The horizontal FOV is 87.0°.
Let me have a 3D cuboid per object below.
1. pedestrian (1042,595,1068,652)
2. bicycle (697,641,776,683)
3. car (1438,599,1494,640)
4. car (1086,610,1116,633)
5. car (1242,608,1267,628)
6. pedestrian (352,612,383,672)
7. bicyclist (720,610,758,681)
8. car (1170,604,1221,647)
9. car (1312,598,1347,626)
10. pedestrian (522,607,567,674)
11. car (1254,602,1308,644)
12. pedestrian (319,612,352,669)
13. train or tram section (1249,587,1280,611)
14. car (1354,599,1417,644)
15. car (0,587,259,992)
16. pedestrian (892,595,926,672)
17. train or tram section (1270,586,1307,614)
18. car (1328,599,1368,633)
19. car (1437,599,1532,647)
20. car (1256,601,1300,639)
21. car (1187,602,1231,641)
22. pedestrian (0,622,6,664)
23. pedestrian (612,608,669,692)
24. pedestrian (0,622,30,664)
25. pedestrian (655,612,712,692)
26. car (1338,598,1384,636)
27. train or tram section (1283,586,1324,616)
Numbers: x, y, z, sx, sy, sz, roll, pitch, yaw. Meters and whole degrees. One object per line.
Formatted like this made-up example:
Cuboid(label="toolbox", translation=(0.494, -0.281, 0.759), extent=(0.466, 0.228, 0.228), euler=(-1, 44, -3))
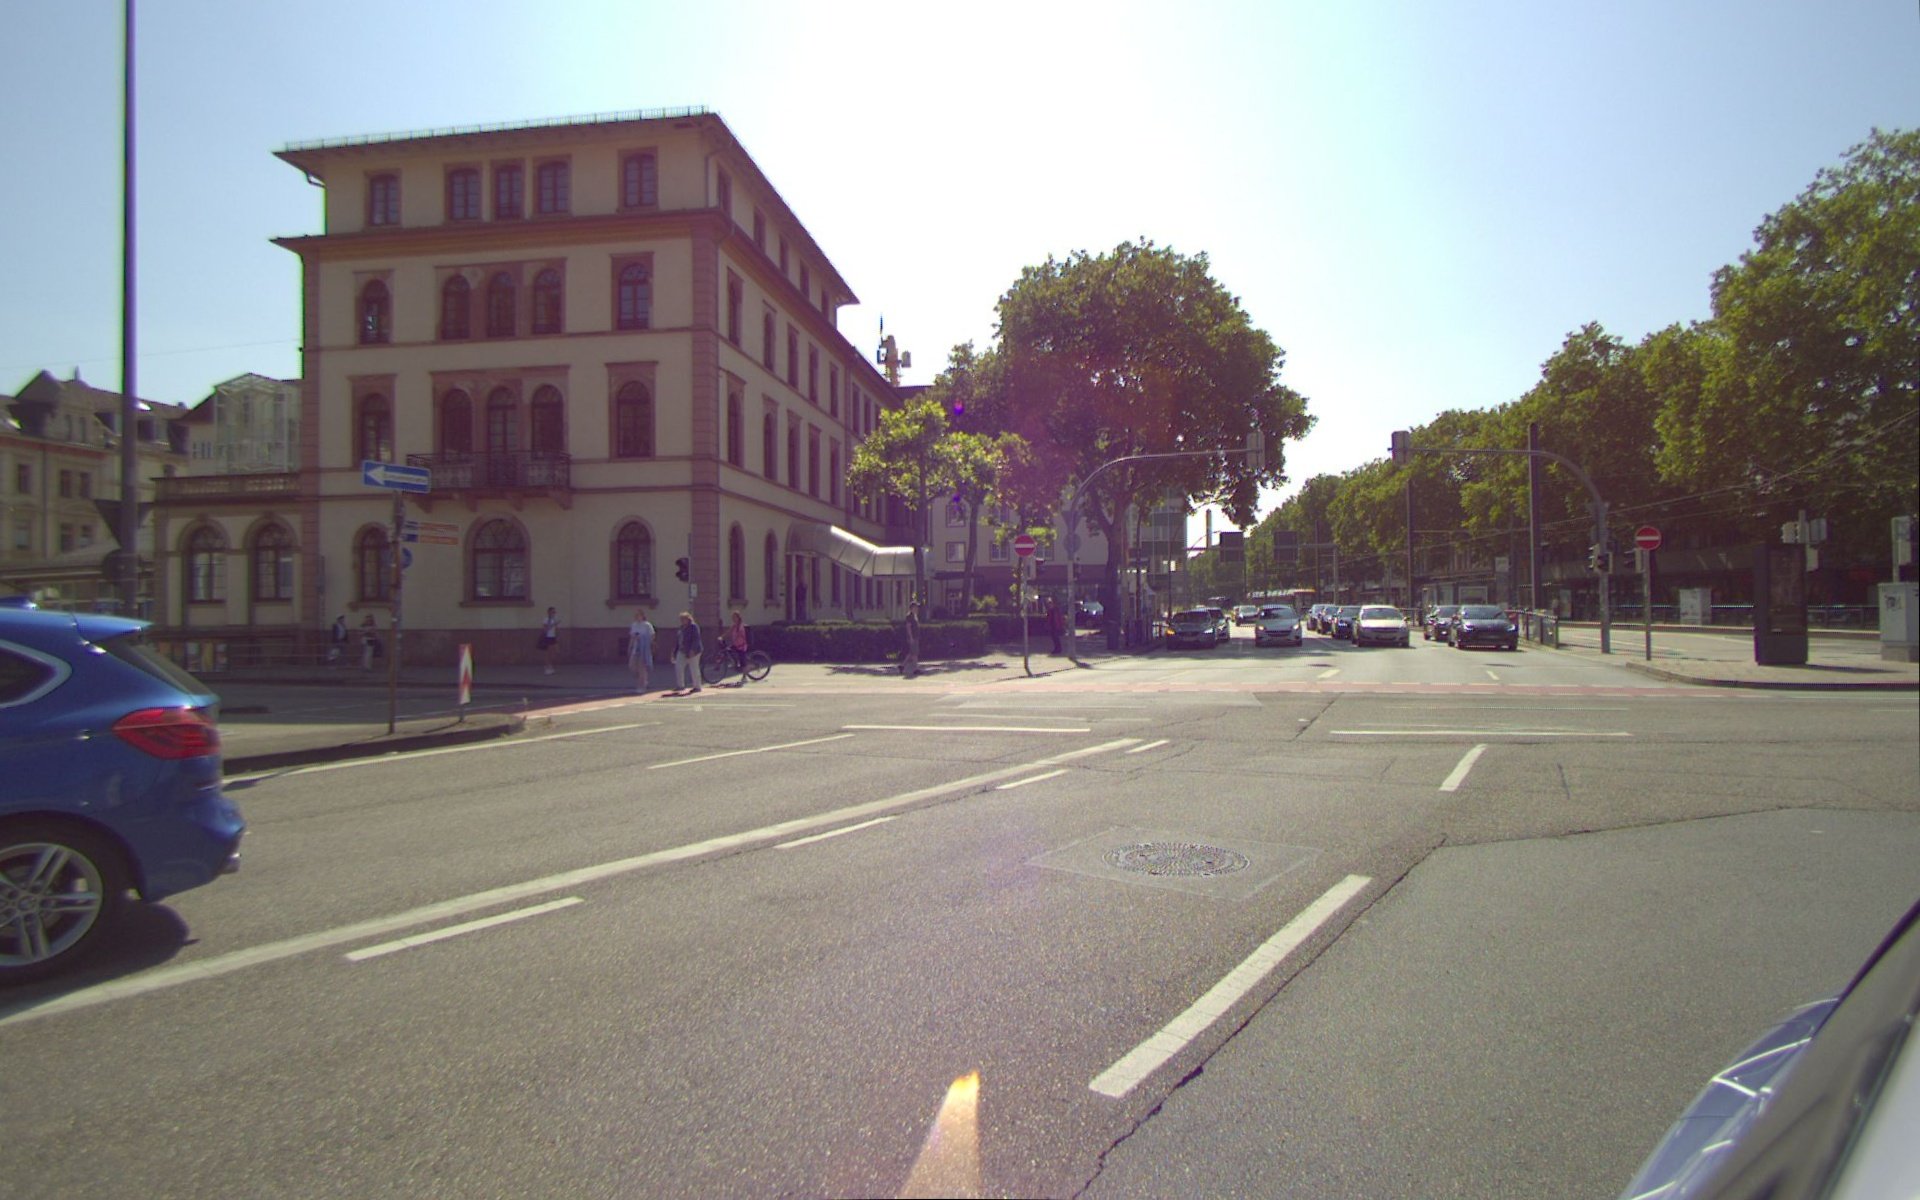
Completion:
Cuboid(label="pedestrian", translation=(3.122, 0.770, 33.143), extent=(0.716, 1.828, 0.649), euler=(-1, -1, 15))
Cuboid(label="bicycle", translation=(-5.196, 1.431, 23.568), extent=(1.711, 0.865, 0.593), euler=(0, -1, -35))
Cuboid(label="car", translation=(20.265, 0.757, 40.651), extent=(1.772, 1.536, 3.942), euler=(1, 0, 23))
Cuboid(label="car", translation=(8.947, 1.338, 64.013), extent=(1.567, 1.339, 3.565), euler=(-1, -1, 13))
Cuboid(label="car", translation=(22.687, 1.379, 78.009), extent=(1.767, 1.470, 3.953), euler=(1, 0, 16))
Cuboid(label="pedestrian", translation=(-16.823, 1.193, 28.743), extent=(0.527, 1.670, 0.577), euler=(-1, -1, 15))
Cuboid(label="bicyclist", translation=(-5.161, 1.043, 23.603), extent=(0.671, 1.627, 0.593), euler=(0, -1, -35))
Cuboid(label="car", translation=(8.891, 0.925, 38.204), extent=(1.765, 1.470, 3.957), euler=(1, 0, 13))
Cuboid(label="car", translation=(20.870, 0.646, 57.129), extent=(1.771, 1.543, 3.946), euler=(1, 0, 21))
Cuboid(label="pedestrian", translation=(-10.894, 1.053, 26.555), extent=(0.829, 1.717, 0.743), euler=(-1, -1, 7))
Cuboid(label="car", translation=(12.069, 0.812, 38.254), extent=(1.766, 1.470, 3.955), euler=(1, 0, 15))
Cuboid(label="pedestrian", translation=(-18.685, 1.215, 30.265), extent=(0.527, 1.670, 0.672), euler=(-1, -1, 11))
Cuboid(label="train or tram section", translation=(42.749, -0.126, 142.515), extent=(2.688, 3.309, 8.718), euler=(-1, -1, 7))
Cuboid(label="car", translation=(15.273, 0.745, 36.521), extent=(1.698, 1.519, 4.463), euler=(0, -1, 18))
Cuboid(label="car", translation=(-5.200, 0.764, 3.615), extent=(1.719, 1.561, 4.204), euler=(-3, -2, 44))
Cuboid(label="pedestrian", translation=(-1.270, 0.830, 25.042), extent=(0.713, 1.869, 0.593), euler=(-1, -1, -14))
Cuboid(label="train or tram section", translation=(40.553, 0.029, 125.198), extent=(2.688, 3.309, 8.718), euler=(-1, -1, 7))
Cuboid(label="car", translation=(18.848, 0.759, 49.203), extent=(1.771, 1.543, 3.946), euler=(1, 0, 21))
Cuboid(label="car", translation=(17.520, 0.725, 34.005), extent=(1.765, 1.470, 4.264), euler=(1, 0, 13))
Cuboid(label="car", translation=(14.117, 0.838, 44.871), extent=(1.769, 1.550, 3.950), euler=(1, 0, 19))
Cuboid(label="car", translation=(10.888, 0.892, 44.122), extent=(1.766, 1.545, 3.955), euler=(1, 0, 15))
Cuboid(label="pedestrian", translation=(-37.829, 1.673, 39.513), extent=(0.719, 1.624, 0.710), euler=(-1, -1, 33))
Cuboid(label="pedestrian", translation=(-6.549, 1.002, 20.757), extent=(0.746, 1.681, 0.821), euler=(-1, -1, 27))
Cuboid(label="pedestrian", translation=(-37.453, 1.683, 40.101), extent=(0.719, 1.624, 0.710), euler=(-1, -1, 33))
Cuboid(label="pedestrian", translation=(-5.645, 1.050, 20.708), extent=(0.766, 1.592, 0.821), euler=(-1, -1, 28))
Cuboid(label="car", translation=(17.325, 0.698, 43.836), extent=(1.771, 1.543, 3.946), euler=(1, 0, 21))
Cuboid(label="train or tram section", translation=(39.483, 0.106, 116.575), extent=(2.688, 3.309, 8.718), euler=(-1, -1, 7))
